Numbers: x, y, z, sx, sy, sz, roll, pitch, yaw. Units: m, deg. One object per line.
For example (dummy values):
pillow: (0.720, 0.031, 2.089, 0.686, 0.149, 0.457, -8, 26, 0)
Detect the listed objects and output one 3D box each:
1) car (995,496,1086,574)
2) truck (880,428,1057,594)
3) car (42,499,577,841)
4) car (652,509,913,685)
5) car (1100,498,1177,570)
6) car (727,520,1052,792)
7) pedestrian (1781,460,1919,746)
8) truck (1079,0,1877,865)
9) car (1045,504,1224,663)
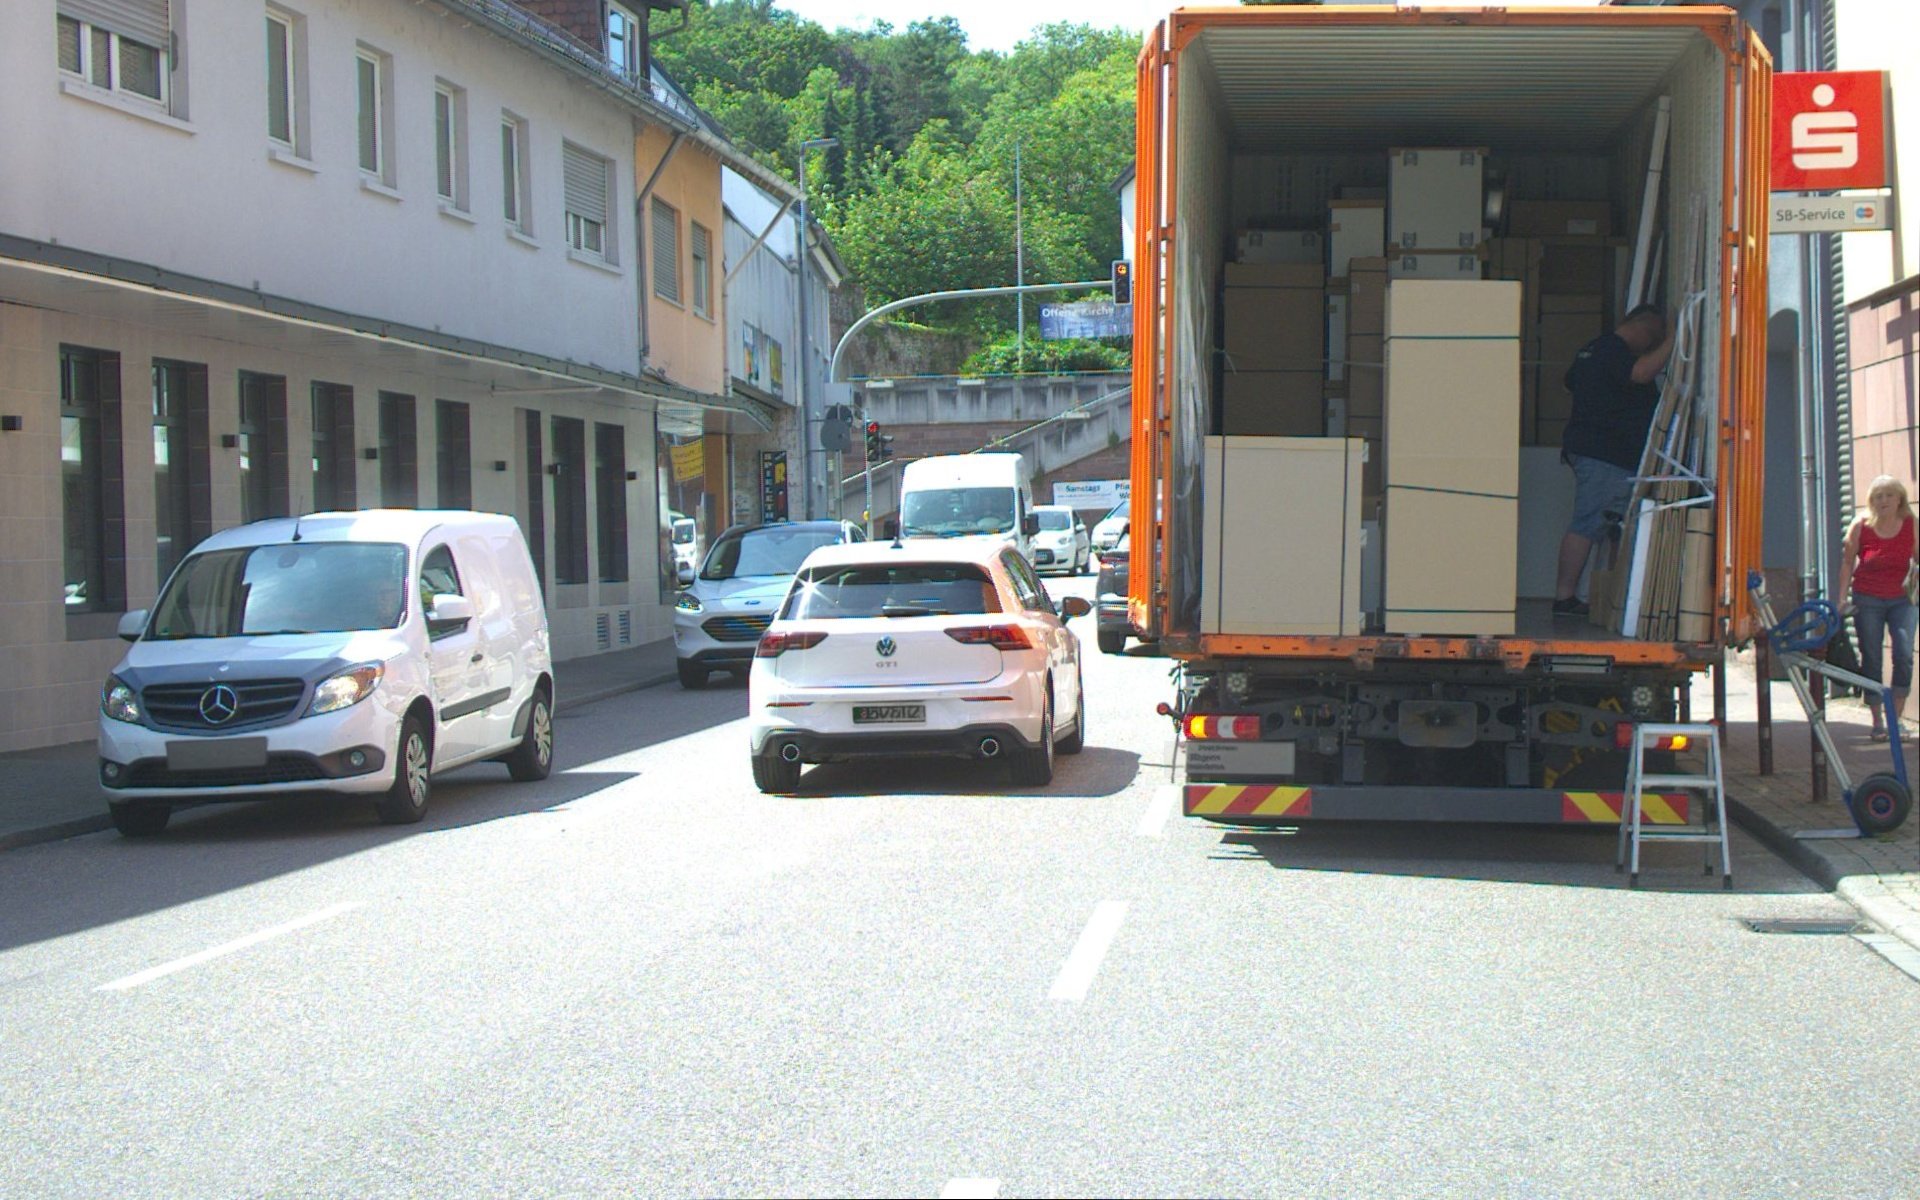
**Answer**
car: (1.712, -1.332, 71.744, 1.761, 1.493, 4.000, -2, 0, 3)
truck: (0.211, -1.377, 55.515, 2.118, 2.466, 5.735, -2, 0, 7)
car: (-3.762, 0.326, 20.812, 1.802, 1.773, 4.704, -2, 1, 6)
car: (-1.768, -0.037, 35.661, 1.994, 1.645, 3.999, -2, 0, 7)
car: (4.307, -1.573, 83.223, 1.749, 1.612, 4.000, -2, 0, 3)
car: (-0.365, 0.306, 21.152, 1.815, 1.514, 4.000, 0, 0, 1)
pedestrian: (5.690, 0.017, 21.609, 0.769, 1.736, 0.871, -2, 0, -1)
truck: (2.541, -0.974, 20.004, 3.367, 4.156, 9.518, -2, 0, 3)
car: (1.912, -0.177, 38.707, 1.815, 1.623, 4.000, -2, 0, 1)
